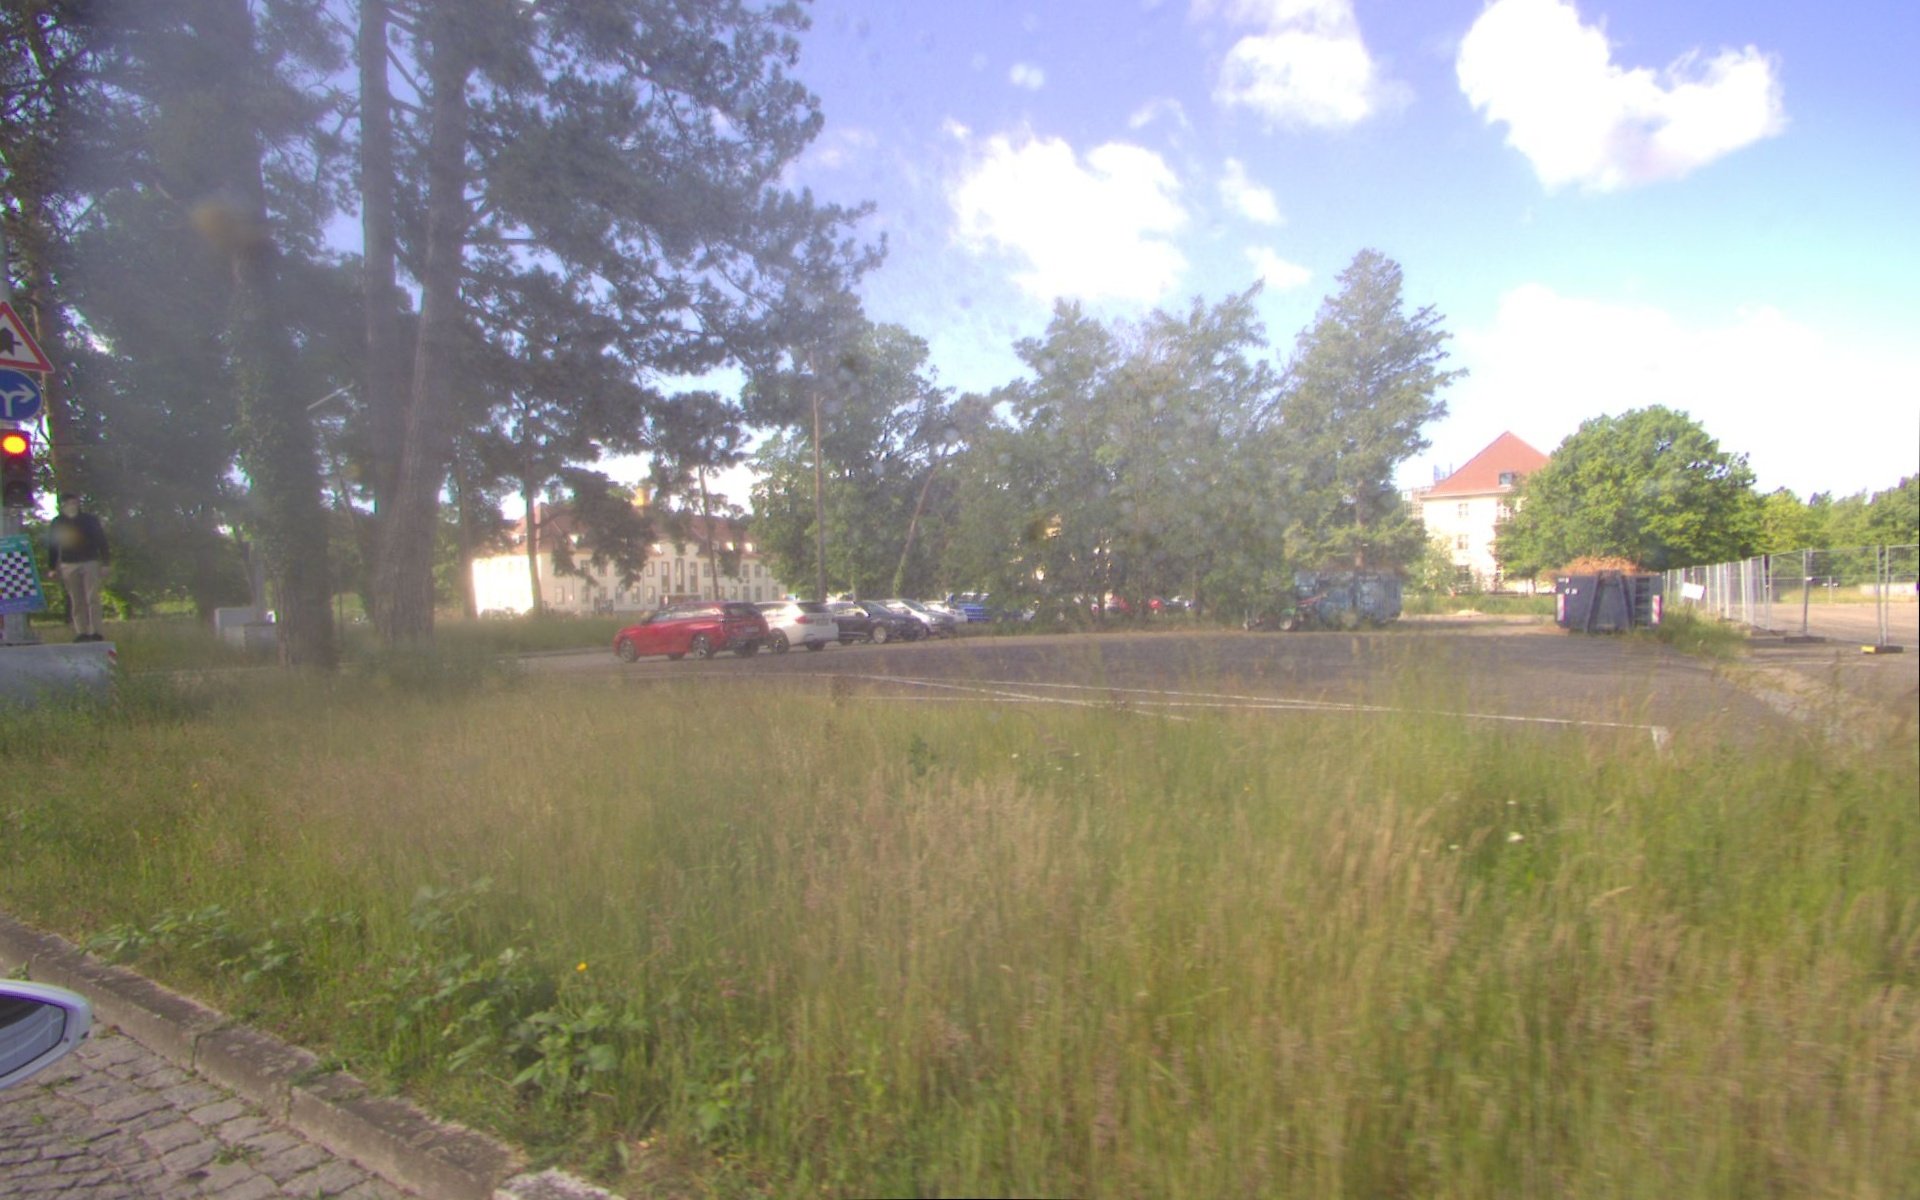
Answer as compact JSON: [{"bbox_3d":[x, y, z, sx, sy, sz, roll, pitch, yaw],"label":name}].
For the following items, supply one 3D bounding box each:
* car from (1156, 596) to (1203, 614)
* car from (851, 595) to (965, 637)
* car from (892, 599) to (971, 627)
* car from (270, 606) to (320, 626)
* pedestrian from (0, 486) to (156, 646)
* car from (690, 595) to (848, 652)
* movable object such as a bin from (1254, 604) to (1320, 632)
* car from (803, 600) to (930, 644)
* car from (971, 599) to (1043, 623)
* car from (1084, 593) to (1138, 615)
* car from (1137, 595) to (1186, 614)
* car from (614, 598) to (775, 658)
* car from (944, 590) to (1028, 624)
[{"bbox_3d":[19.286,0.451,88.147,3.682,1.568,1.704,-1,-1,32],"label":"car"},{"bbox_3d":[-1.859,0.582,35.235,3.740,1.390,1.719,-1,-1,34],"label":"car"},{"bbox_3d":[-1.621,0.732,55.791,4.181,1.487,1.720,-1,-1,32],"label":"car"},{"bbox_3d":[-53.456,1.286,80.441,4.103,1.603,1.823,-1,1,32],"label":"car"},{"bbox_3d":[-10.627,-0.400,12.125,1.154,1.821,1.057,-2,2,-29],"label":"pedestrian"},{"bbox_3d":[-5.369,0.660,28.052,4.180,1.396,1.776,-3,-1,31],"label":"car"},{"bbox_3d":[9.557,0.522,29.236,1.696,0.762,1.143,-1,0,25],"label":"movable object such as a bin"},{"bbox_3d":[-3.083,0.705,32.651,3.988,1.332,1.612,-1,1,33],"label":"car"},{"bbox_3d":[2.897,0.683,62.292,4.181,1.443,1.720,-1,-1,32],"label":"car"},{"bbox_3d":[11.528,0.324,76.412,3.682,1.568,1.704,-1,-1,32],"label":"car"},{"bbox_3d":[17.039,0.415,84.815,3.682,1.568,1.704,-1,-1,32],"label":"car"},{"bbox_3d":[-6.804,0.738,25.536,4.071,1.417,1.652,-2,-1,32],"label":"car"},{"bbox_3d":[1.553,0.430,59.981,4.677,1.973,1.981,-1,-1,32],"label":"car"}]
